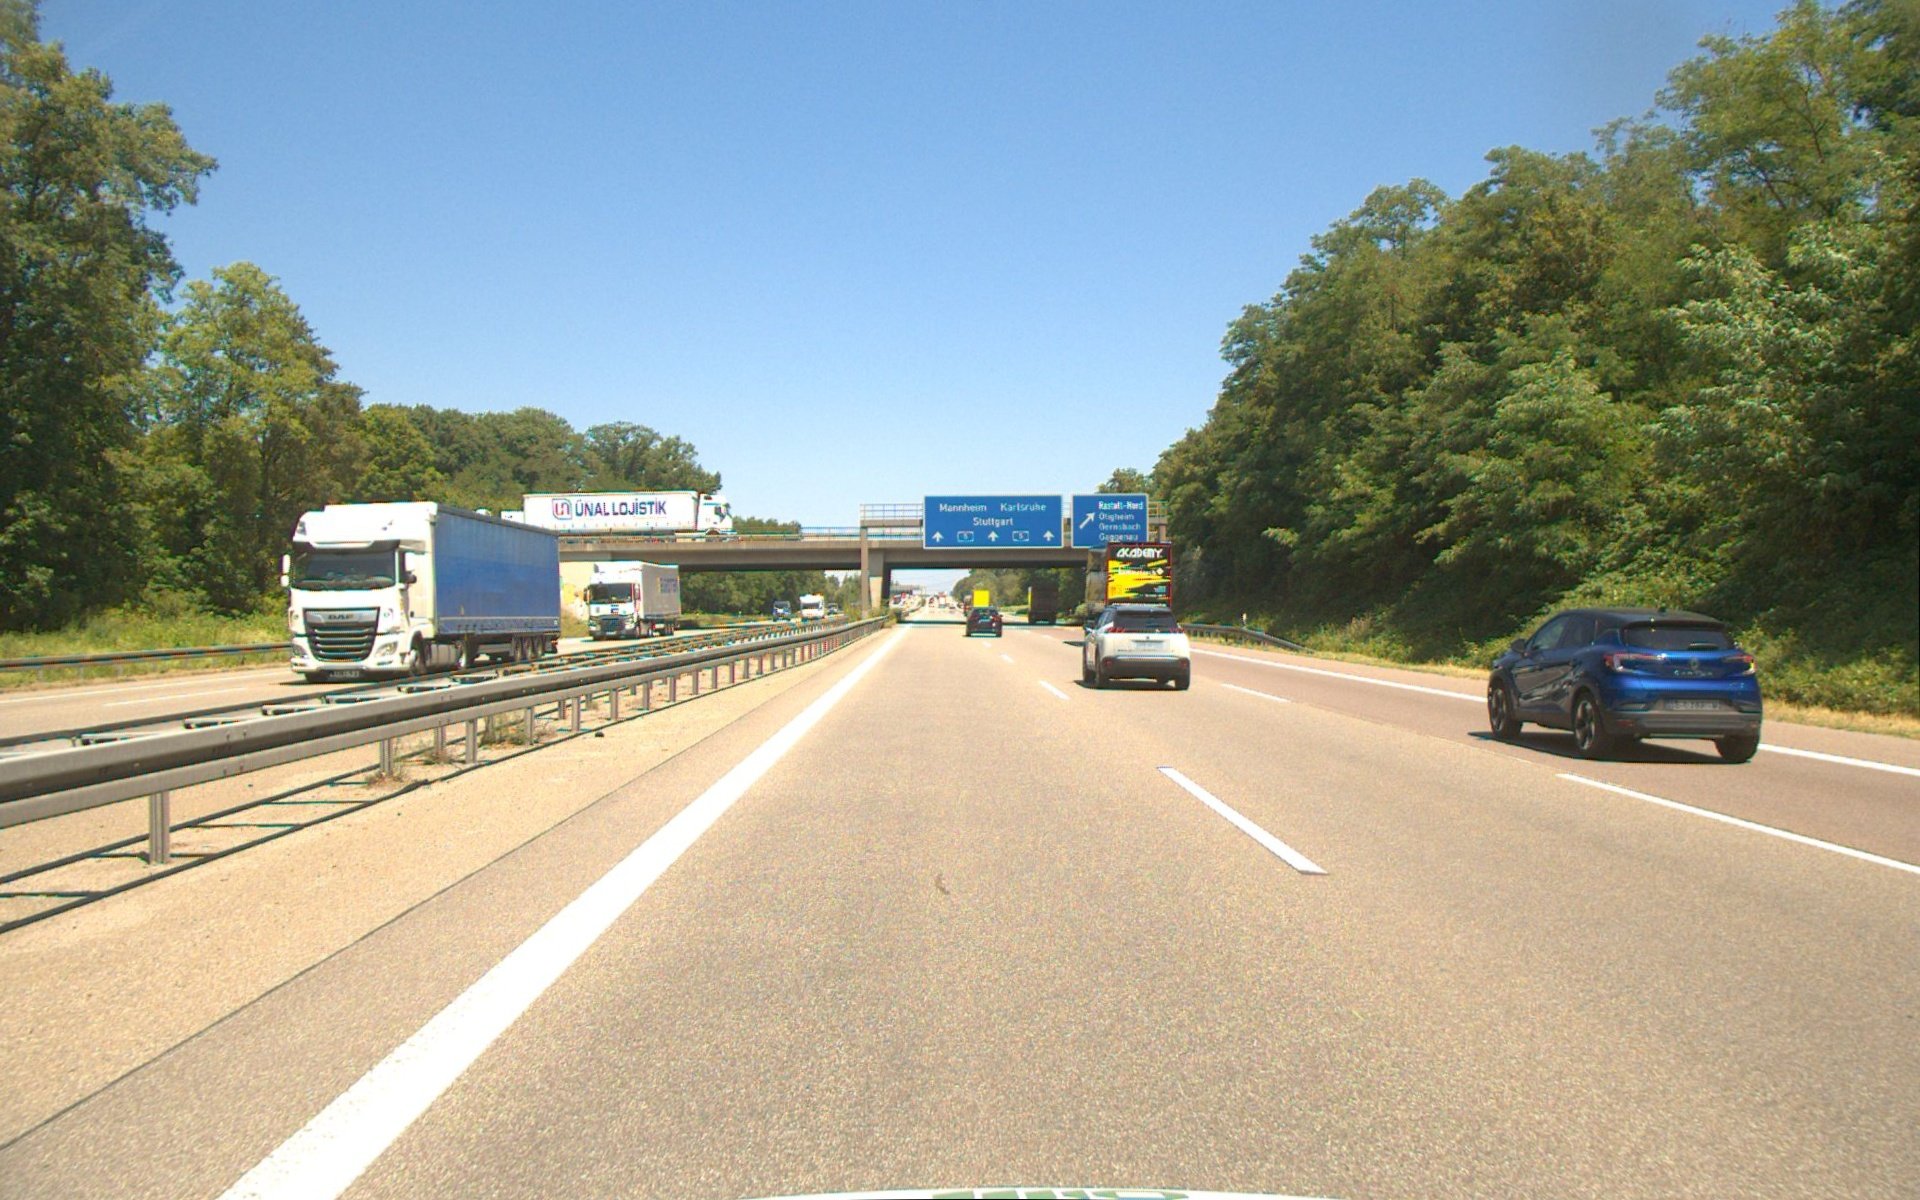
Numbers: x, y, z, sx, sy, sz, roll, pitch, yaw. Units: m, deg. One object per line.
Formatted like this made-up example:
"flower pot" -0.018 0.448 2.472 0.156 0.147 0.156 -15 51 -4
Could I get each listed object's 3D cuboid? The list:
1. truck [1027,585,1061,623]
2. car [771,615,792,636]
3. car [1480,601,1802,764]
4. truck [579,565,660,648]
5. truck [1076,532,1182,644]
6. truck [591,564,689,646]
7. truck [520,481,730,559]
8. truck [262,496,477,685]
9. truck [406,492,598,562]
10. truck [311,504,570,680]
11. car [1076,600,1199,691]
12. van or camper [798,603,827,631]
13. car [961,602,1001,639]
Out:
"truck" 7.919 0.403 155.207 2.965 3.378 10.774 1 -1 3
"car" -21.353 3.066 198.042 2.047 2.441 5.731 1 -1 -2
"car" 7.447 0.842 18.577 1.832 1.583 4.200 1 -1 -1
"truck" -18.237 0.362 88.916 2.909 4.133 6.457 -3 -1 -1
"truck" 6.725 -0.385 67.640 2.915 4.107 10.978 2 -1 -1
"truck" -18.393 0.329 96.098 3.004 4.325 13.958 -3 -1 -1
"truck" -26.780 -6.349 132.880 16.143 5.663 3.171 1 -1 -6
"truck" -13.839 -0.186 39.341 2.926 4.089 6.039 1 -1 -1
"truck" -40.851 -6.460 148.187 16.154 5.663 3.169 1 -1 -9
"truck" -13.941 -0.119 46.116 2.926 4.089 13.933 1 -1 -1
"car" 3.383 0.851 32.354 1.790 1.636 4.807 0 -1 -1
"van or camper" -16.111 1.869 180.657 2.540 2.957 7.232 1 -1 -1
"car" 1.020 0.994 81.684 1.790 1.736 3.999 1 -1 -1
